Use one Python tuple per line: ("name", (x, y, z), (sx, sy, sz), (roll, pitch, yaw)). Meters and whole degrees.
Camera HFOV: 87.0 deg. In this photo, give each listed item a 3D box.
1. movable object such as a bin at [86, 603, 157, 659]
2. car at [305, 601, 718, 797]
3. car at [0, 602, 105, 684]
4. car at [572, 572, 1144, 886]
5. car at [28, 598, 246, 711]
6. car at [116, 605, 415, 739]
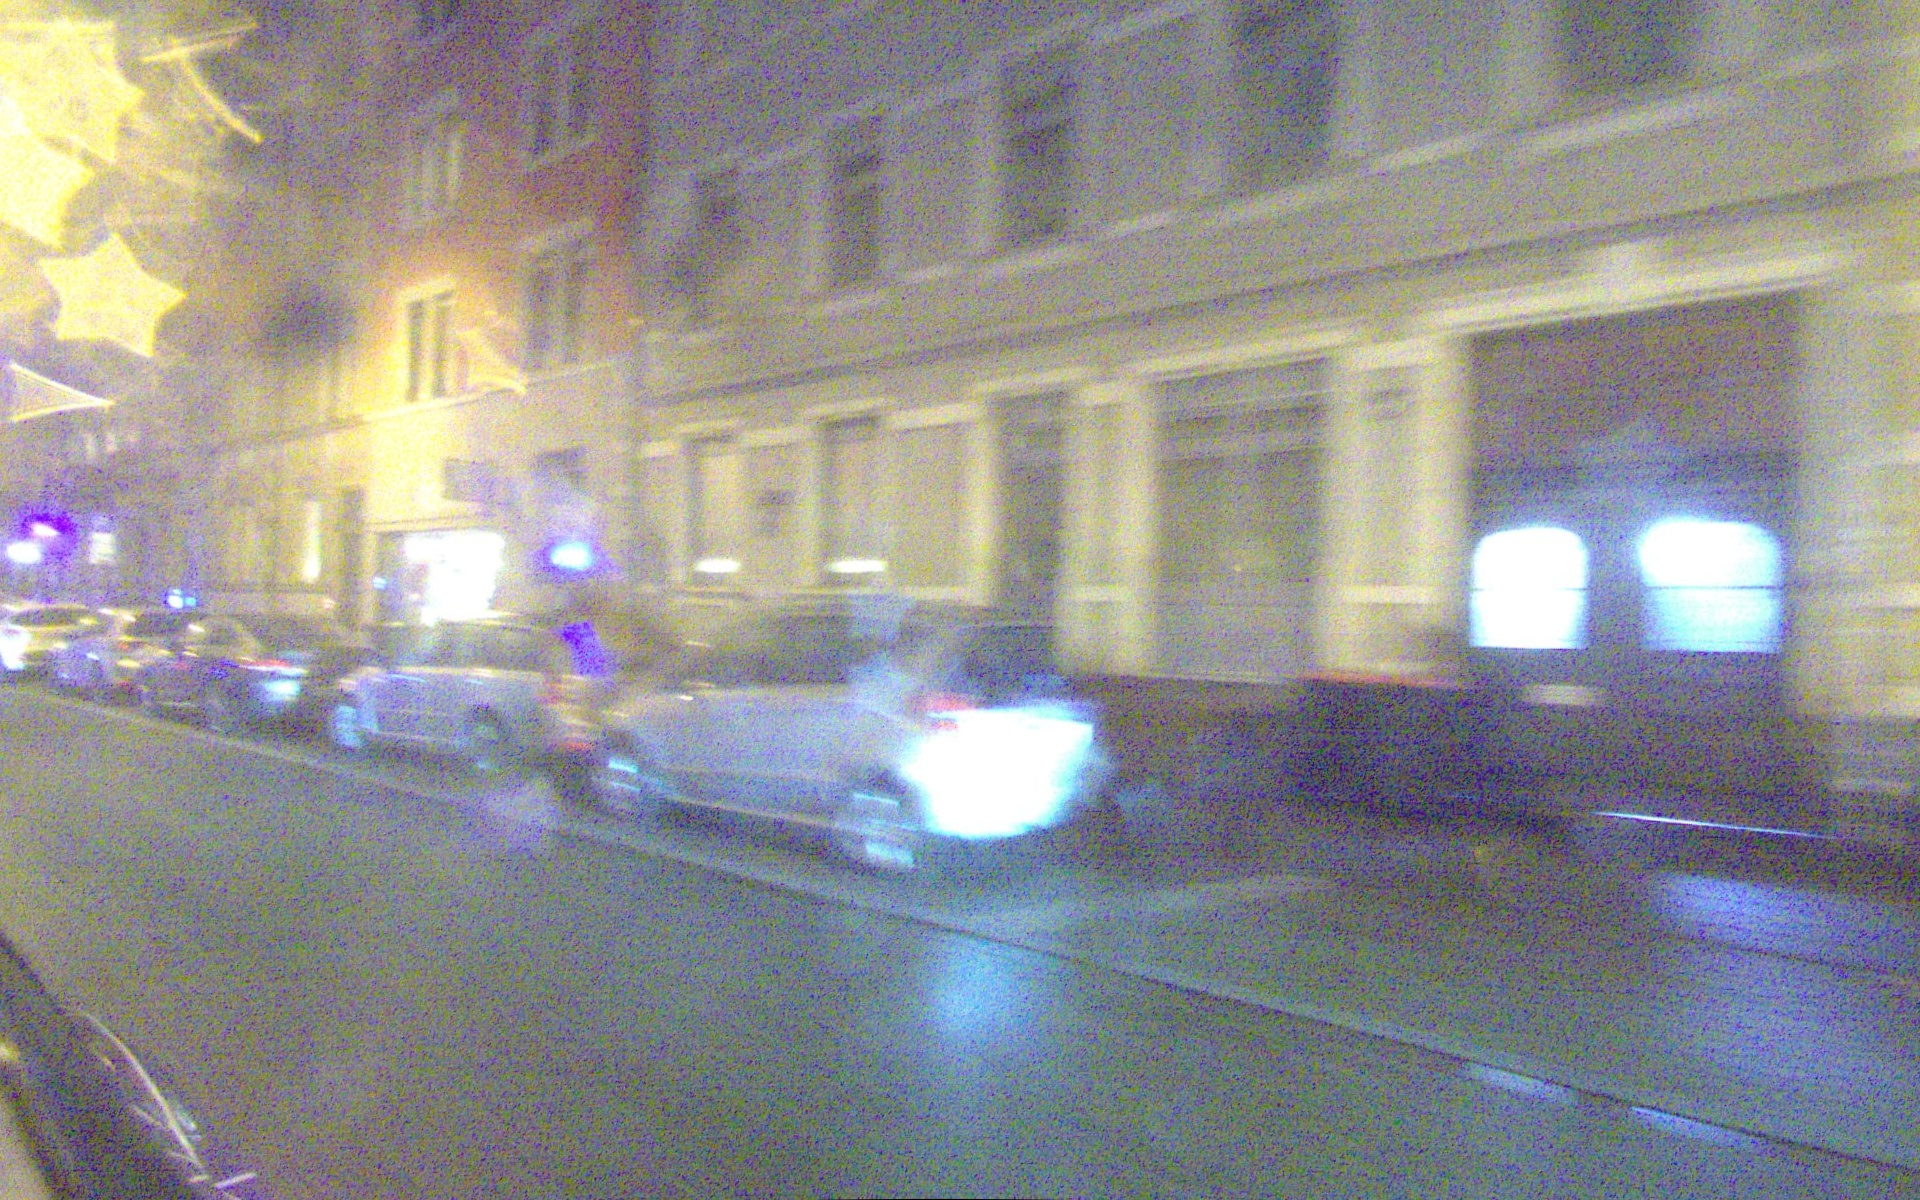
("movable object such as a bin", (-22.510, 0.836, 27.180), (1.376, 1.465, 1.091), (0, -2, 35))
("car", (-4.481, 0.790, 9.854), (4.299, 1.492, 1.815), (0, -1, 37))
("car", (-18.837, 0.799, 20.412), (3.715, 1.502, 1.656), (0, 0, 37))
("car", (-0.824, 0.672, 6.995), (3.759, 1.600, 1.729), (0, -1, 37))
("car", (-13.320, 0.799, 16.313), (4.127, 1.584, 1.758), (0, -2, 37))
("car", (-8.924, 0.800, 12.880), (4.418, 1.400, 1.805), (0, -2, 37))
